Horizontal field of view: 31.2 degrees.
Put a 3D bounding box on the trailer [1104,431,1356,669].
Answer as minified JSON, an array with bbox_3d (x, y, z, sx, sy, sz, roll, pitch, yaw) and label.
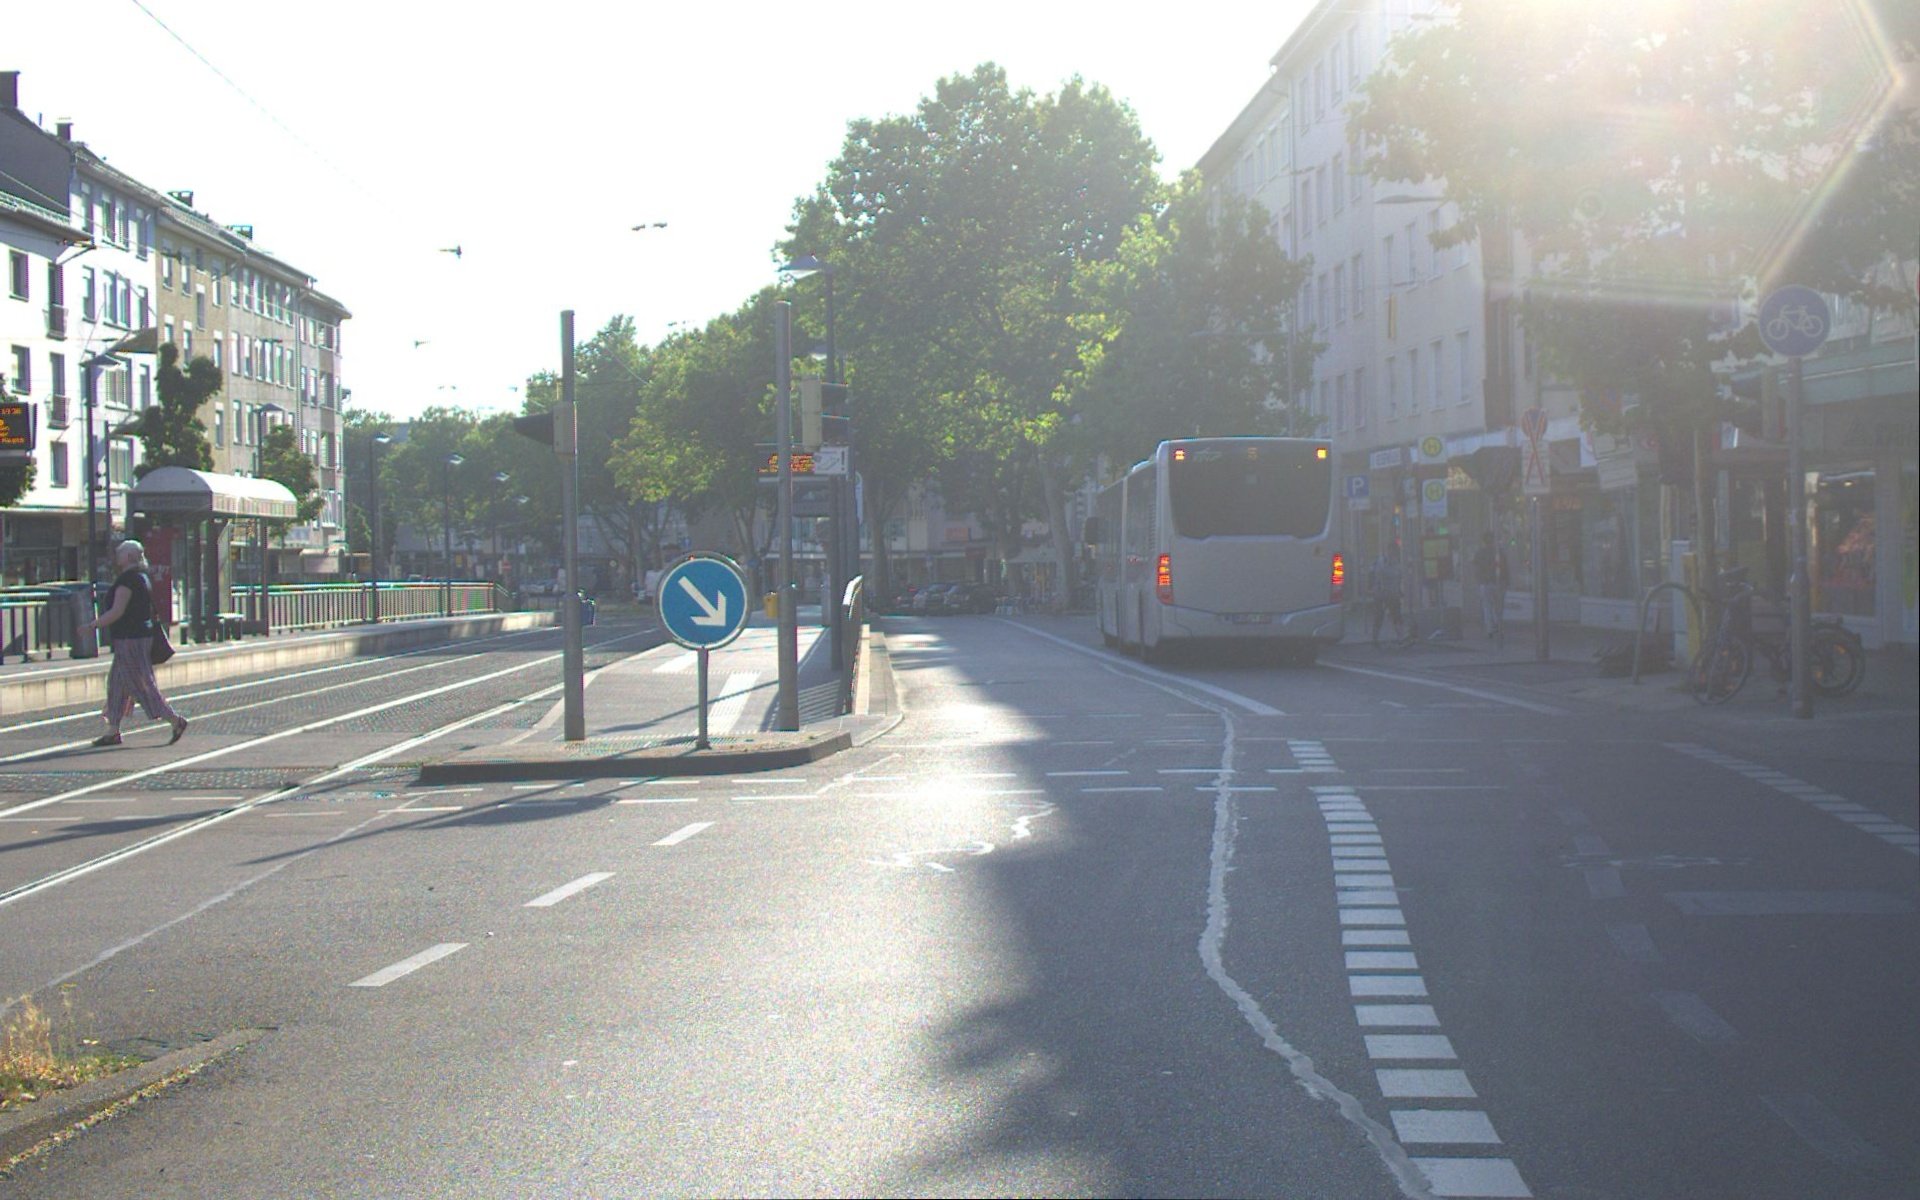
[{"bbox_3d":[3.766,-0.716,50.007,2.812,3.100,8.795,1,1,-1],"label":"trailer"}]

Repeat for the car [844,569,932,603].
[{"bbox_3d":[-3.466,-0.682,166.425,3.889,1.591,1.691,-2,1,-29],"label":"car"}]

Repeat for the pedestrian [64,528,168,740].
[{"bbox_3d":[-7.146,0.281,29.120,0.680,1.764,0.687,-1,1,0],"label":"pedestrian"}]

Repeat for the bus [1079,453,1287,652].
[{"bbox_3d":[3.687,-0.814,58.959,2.812,3.091,9.095,1,1,-1],"label":"bus"}]

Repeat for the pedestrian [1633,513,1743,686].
[{"bbox_3d":[8.882,-0.021,41.960,0.953,2.006,0.917,-5,1,-2],"label":"pedestrian"}]

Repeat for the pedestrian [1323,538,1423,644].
[{"bbox_3d":[6.600,-0.145,55.031,1.148,1.654,1.186,-1,1,-21],"label":"pedestrian"}]

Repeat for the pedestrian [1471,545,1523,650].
[{"bbox_3d":[8.461,-0.044,54.169,0.676,1.622,0.655,1,1,0],"label":"pedestrian"}]

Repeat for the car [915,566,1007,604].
[{"bbox_3d":[0.028,-0.697,161.446,3.889,1.693,1.833,-2,1,-29],"label":"car"}]

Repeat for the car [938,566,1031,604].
[{"bbox_3d":[1.138,-0.708,158.800,3.889,1.693,1.833,-2,1,-29],"label":"car"}]

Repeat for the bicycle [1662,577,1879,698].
[{"bbox_3d":[7.378,0.336,31.330,1.772,1.018,0.694,-2,1,-1],"label":"bicycle"}]
